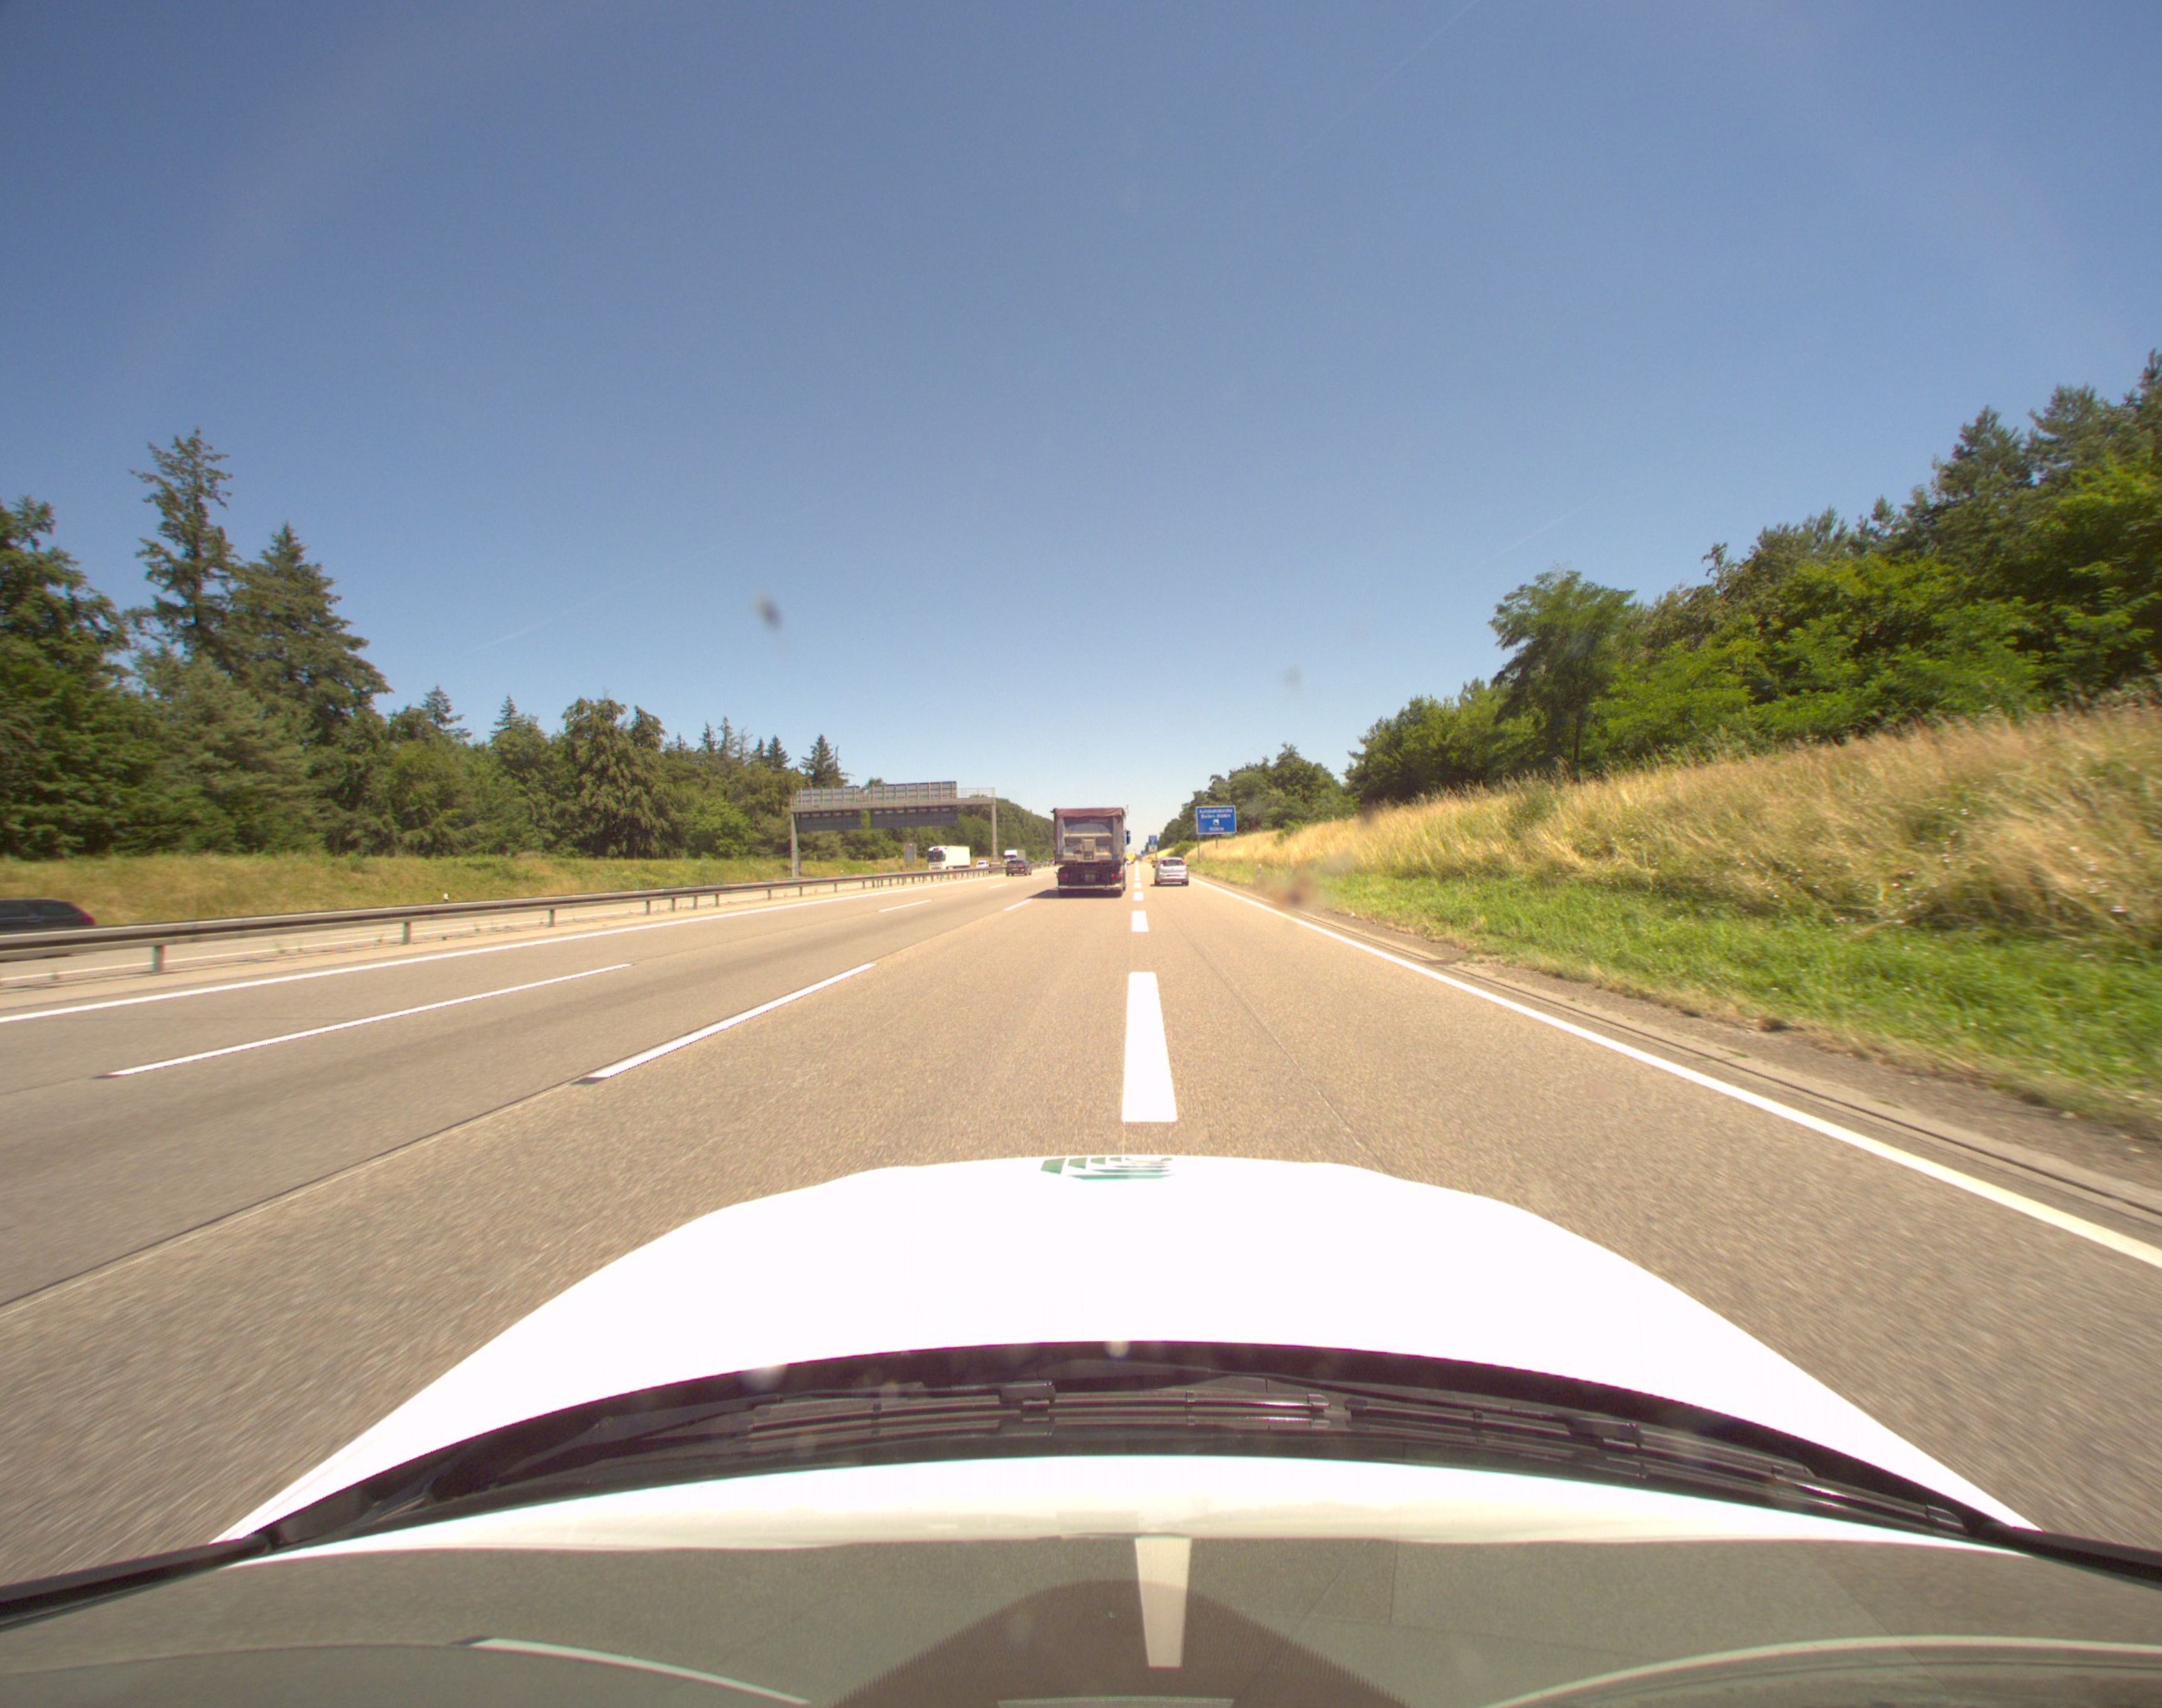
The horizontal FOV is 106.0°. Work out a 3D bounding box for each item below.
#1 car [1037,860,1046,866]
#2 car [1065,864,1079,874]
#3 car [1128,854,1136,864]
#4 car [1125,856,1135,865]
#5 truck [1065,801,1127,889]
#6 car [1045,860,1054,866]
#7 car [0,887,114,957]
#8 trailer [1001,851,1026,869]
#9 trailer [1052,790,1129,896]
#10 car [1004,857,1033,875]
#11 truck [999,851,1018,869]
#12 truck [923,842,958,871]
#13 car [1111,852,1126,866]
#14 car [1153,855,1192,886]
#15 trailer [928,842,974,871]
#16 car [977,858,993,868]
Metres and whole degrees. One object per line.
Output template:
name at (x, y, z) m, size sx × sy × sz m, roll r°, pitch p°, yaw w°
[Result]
car at (-11.574, 2.622, 237.404) m, size 1.918 × 1.463 × 4.948 m, roll -2°, pitch 0°, yaw 4°
car at (-1.441, 2.341, 130.889) m, size 1.696 × 1.474 × 4.602 m, roll -1°, pitch 0°, yaw 4°
car at (11.187, 1.073, 178.671) m, size 1.605 × 2.014 × 4.003 m, roll 0°, pitch 0°, yaw 3°
car at (9.018, 1.227, 150.110) m, size 1.813 × 1.492 × 3.741 m, roll 0°, pitch -1°, yaw 4°
truck at (0.804, -0.396, 38.497) m, size 2.673 × 3.758 × 5.948 m, roll -1°, pitch 0°, yaw 3°
car at (-8.278, 2.334, 216.353) m, size 1.838 × 1.610 × 4.926 m, roll -1°, pitch 0°, yaw 4°
car at (-25.602, 1.620, 18.340) m, size 1.819 × 1.509 × 4.747 m, roll -2°, pitch 0°, yaw 3°
trailer at (-15.473, 1.342, 187.996) m, size 3.152 × 3.931 × 13.985 m, roll -1°, pitch 0°, yaw 6°
trailer at (0.577, -0.416, 33.881) m, size 2.726 × 3.758 × 9.116 m, roll -1°, pitch 0°, yaw 3°
car at (-5.374, 1.004, 70.765) m, size 1.824 × 1.431 × 5.005 m, roll -1°, pitch 0°, yaw 4°
truck at (-16.099, 1.271, 181.542) m, size 3.152 × 3.931 × 5.408 m, roll -1°, pitch -1°, yaw 6°
truck at (-19.942, 0.357, 115.972) m, size 3.198 × 4.018 × 6.225 m, roll -1°, pitch 0°, yaw 5°
car at (4.651, 0.602, 101.614) m, size 1.824 × 1.672 × 4.003 m, roll 0°, pitch -1°, yaw 3°
car at (4.727, 0.821, 42.563) m, size 1.713 × 1.491 × 3.739 m, roll 0°, pitch 0°, yaw 2°
trailer at (-19.325, 0.385, 122.501) m, size 3.198 × 4.042 × 14.382 m, roll -1°, pitch 0°, yaw 6°
car at (-17.395, 1.592, 148.363) m, size 1.985 × 1.749 × 4.995 m, roll -1°, pitch 0°, yaw 3°
